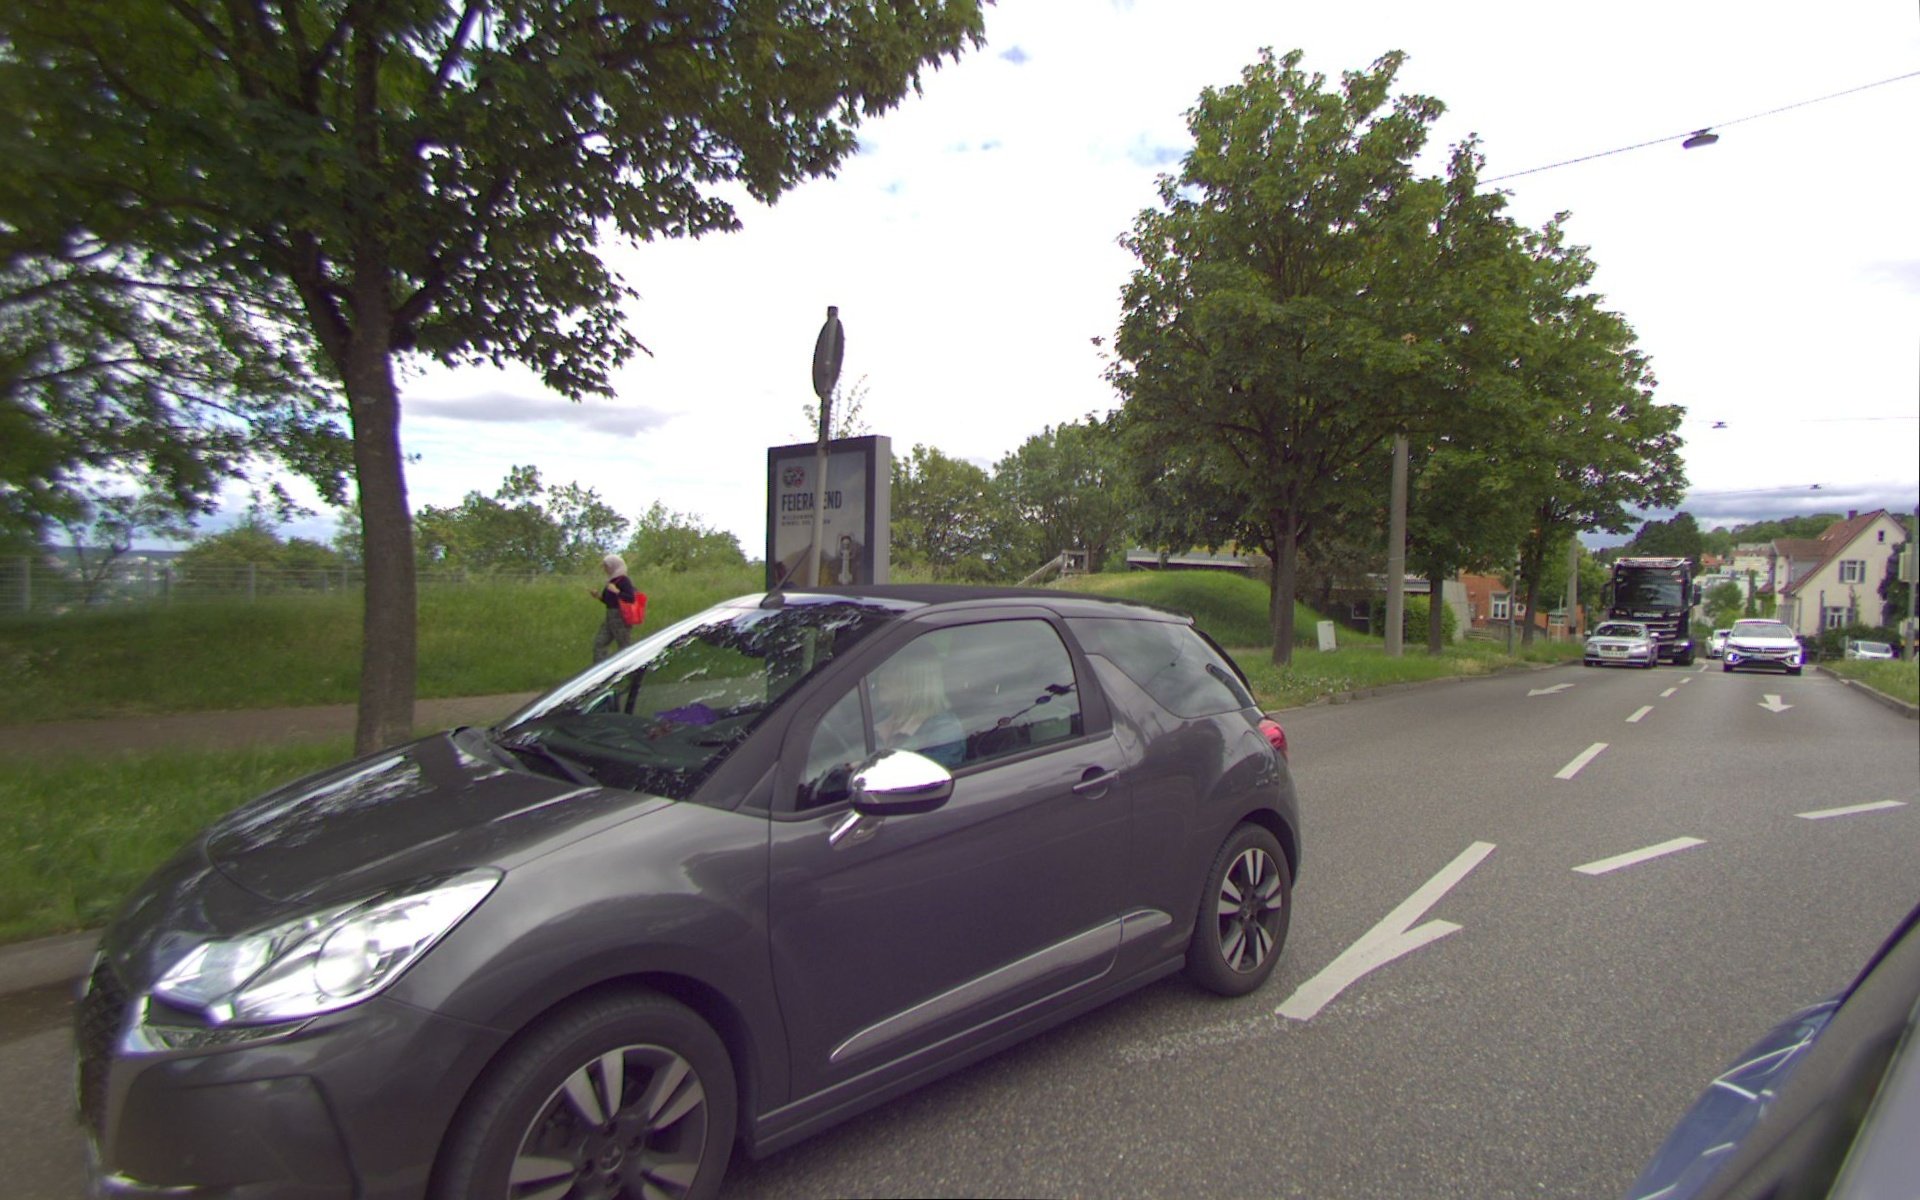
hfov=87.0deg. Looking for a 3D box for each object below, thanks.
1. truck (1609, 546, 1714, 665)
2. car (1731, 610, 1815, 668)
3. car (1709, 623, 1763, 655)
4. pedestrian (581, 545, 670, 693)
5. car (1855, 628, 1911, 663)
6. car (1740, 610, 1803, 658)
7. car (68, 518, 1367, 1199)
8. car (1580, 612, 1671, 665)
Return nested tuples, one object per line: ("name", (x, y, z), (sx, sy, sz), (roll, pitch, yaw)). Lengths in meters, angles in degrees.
("truck", (26.693, 0.166, 38.311), (2.813, 3.975, 9.329), (1, 0, 37))
("car", (24.150, 1.125, 30.115), (1.847, 1.549, 4.424), (1, -1, 39))
("car", (40.201, 2.007, 52.518), (1.723, 1.588, 4.276), (-1, -2, 32))
("pedestrian", (-3.887, 0.208, 11.766), (0.541, 1.623, 0.692), (8, 4, 39))
("car", (62.165, 3.027, 68.231), (2.163, 2.039, 3.951), (1, 1, 34))
("car", (33.011, 1.340, 41.252), (1.745, 1.820, 4.231), (1, -1, 36))
("car", (-0.355, 0.620, 3.448), (3.993, 1.479, 1.703), (0, 0, -43))
("car", (20.660, 1.121, 31.354), (1.980, 1.461, 4.100), (1, 0, 39))
